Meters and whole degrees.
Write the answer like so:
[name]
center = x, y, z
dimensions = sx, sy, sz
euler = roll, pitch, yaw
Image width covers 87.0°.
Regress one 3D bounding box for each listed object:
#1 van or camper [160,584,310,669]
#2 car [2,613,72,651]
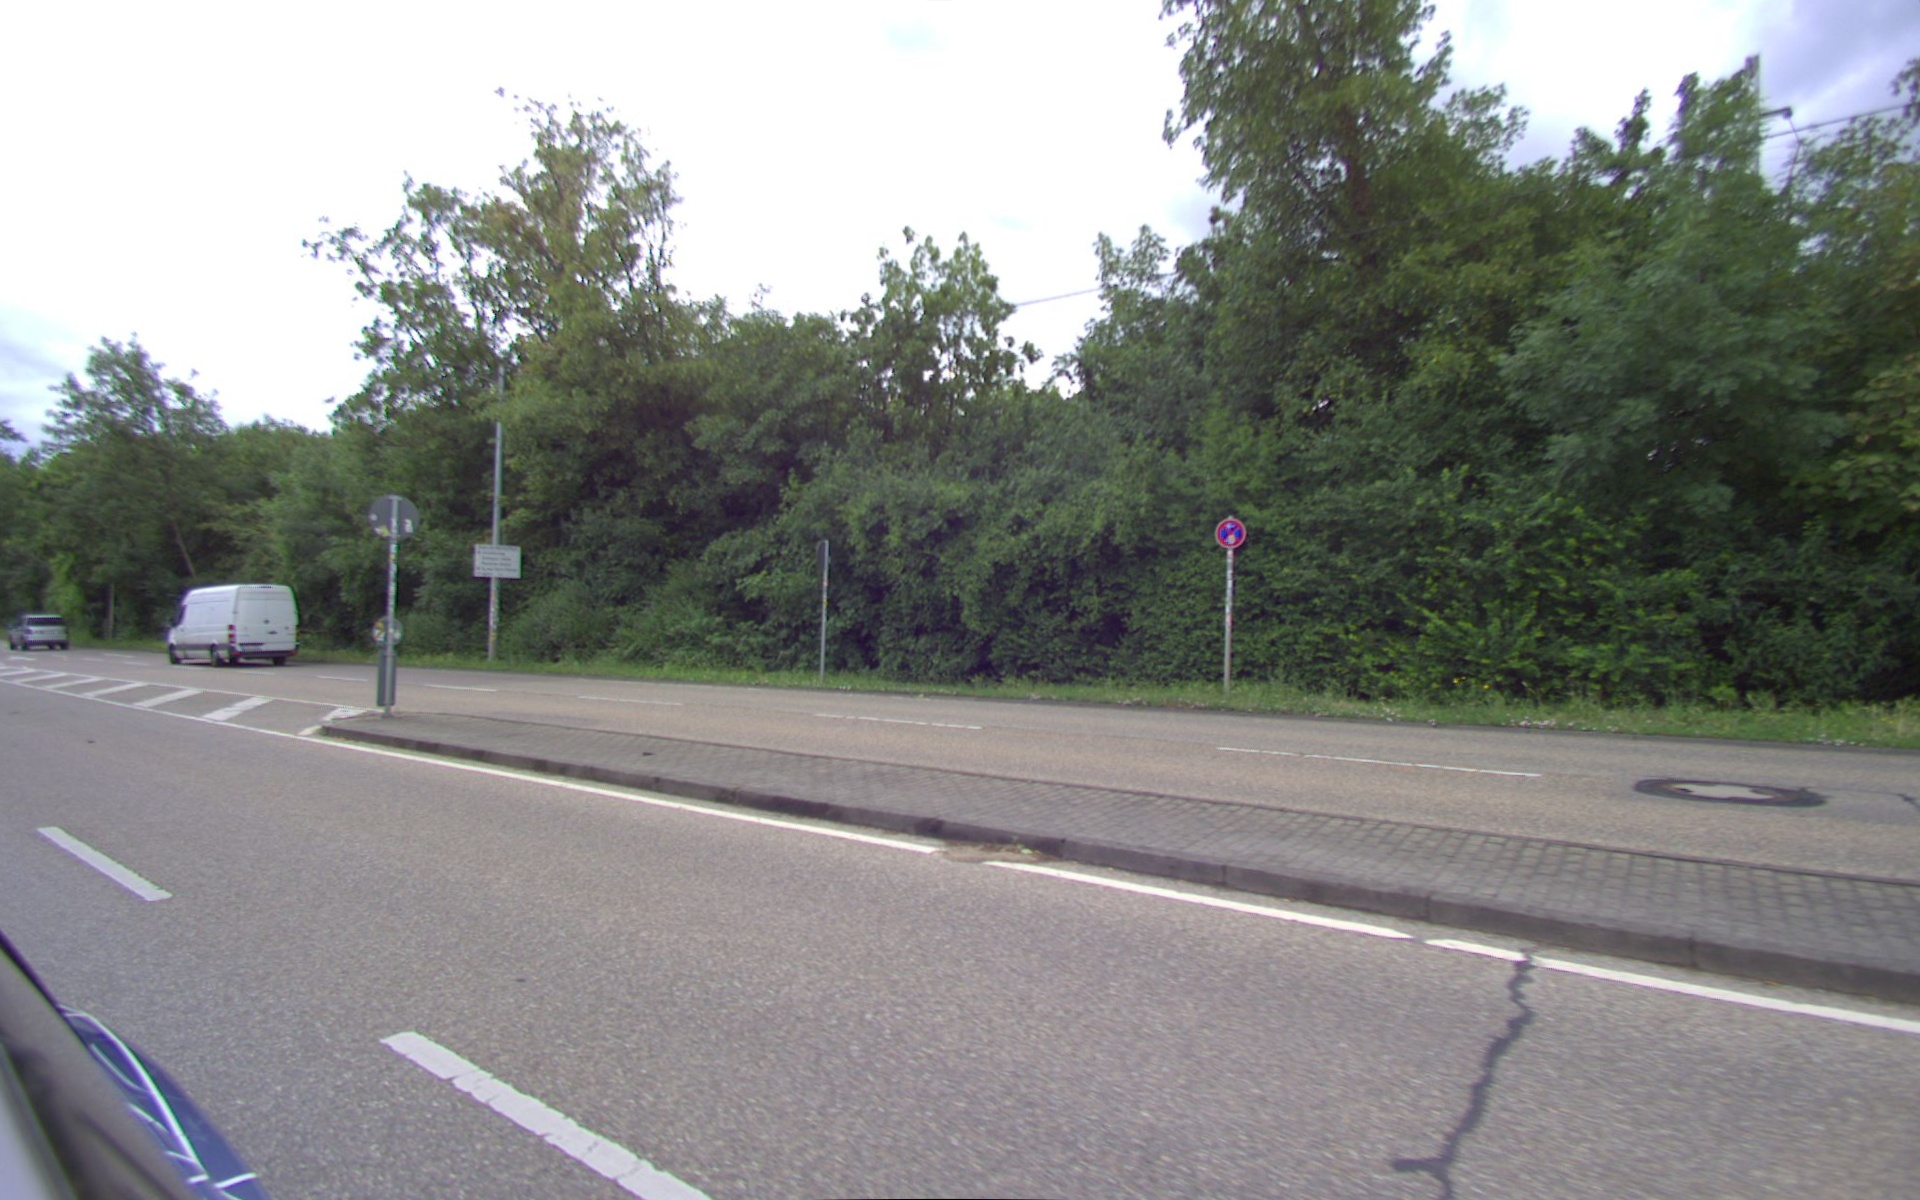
[van or camper]
center = -24.379, 0.876, 33.898
dimensions = 6.849, 2.574, 2.261
euler = -1, -1, 38
[car]
center = -46.879, 1.618, 51.374
dimensions = 4.375, 1.844, 1.797
euler = -2, -3, 37
